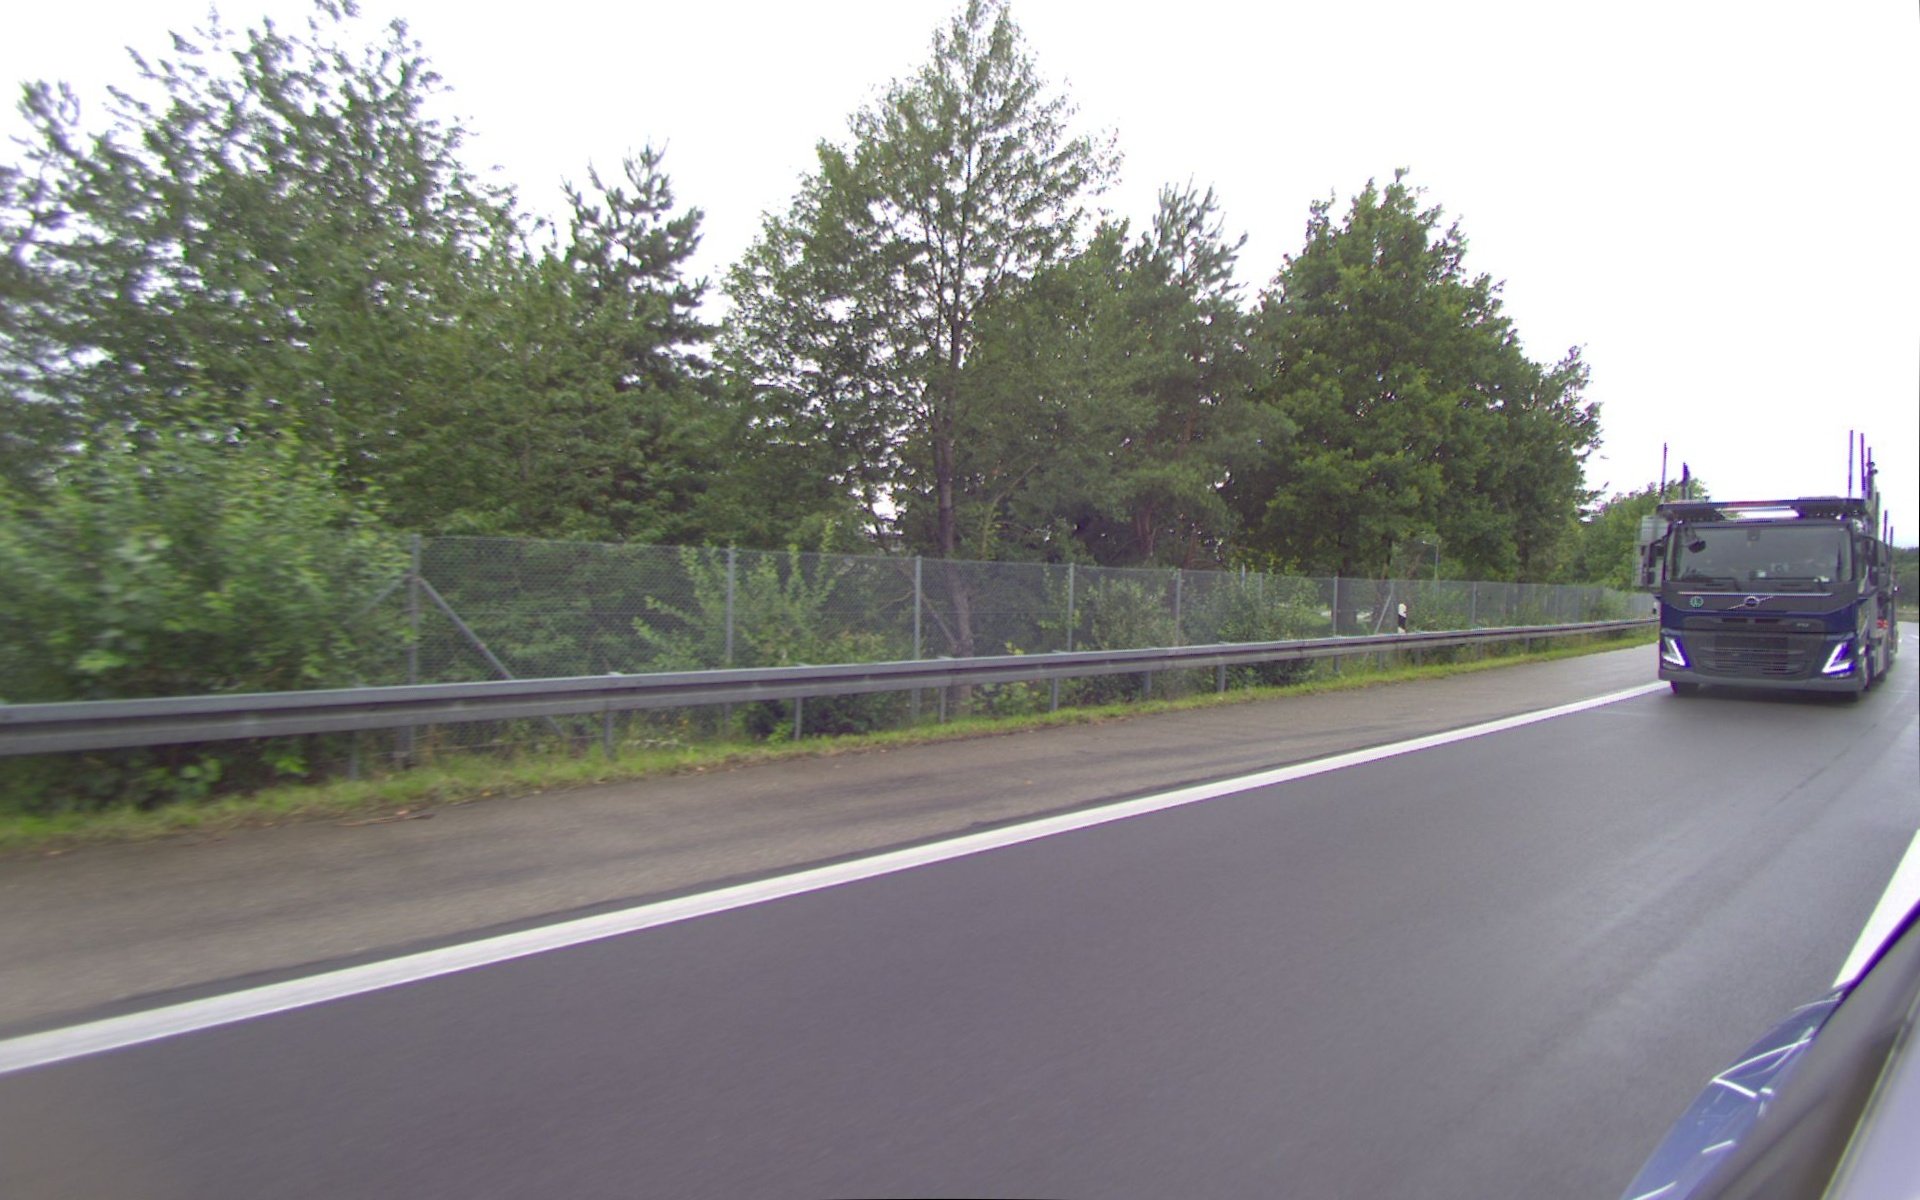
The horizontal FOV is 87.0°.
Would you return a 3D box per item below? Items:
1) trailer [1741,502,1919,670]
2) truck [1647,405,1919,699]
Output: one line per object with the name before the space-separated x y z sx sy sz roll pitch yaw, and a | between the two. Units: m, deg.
trailer | 21.753 -0.291 24.712 10.234 3.326 2.780 1 1 -44
truck | 14.914 -0.617 17.991 8.977 4.018 2.740 1 -1 -44
